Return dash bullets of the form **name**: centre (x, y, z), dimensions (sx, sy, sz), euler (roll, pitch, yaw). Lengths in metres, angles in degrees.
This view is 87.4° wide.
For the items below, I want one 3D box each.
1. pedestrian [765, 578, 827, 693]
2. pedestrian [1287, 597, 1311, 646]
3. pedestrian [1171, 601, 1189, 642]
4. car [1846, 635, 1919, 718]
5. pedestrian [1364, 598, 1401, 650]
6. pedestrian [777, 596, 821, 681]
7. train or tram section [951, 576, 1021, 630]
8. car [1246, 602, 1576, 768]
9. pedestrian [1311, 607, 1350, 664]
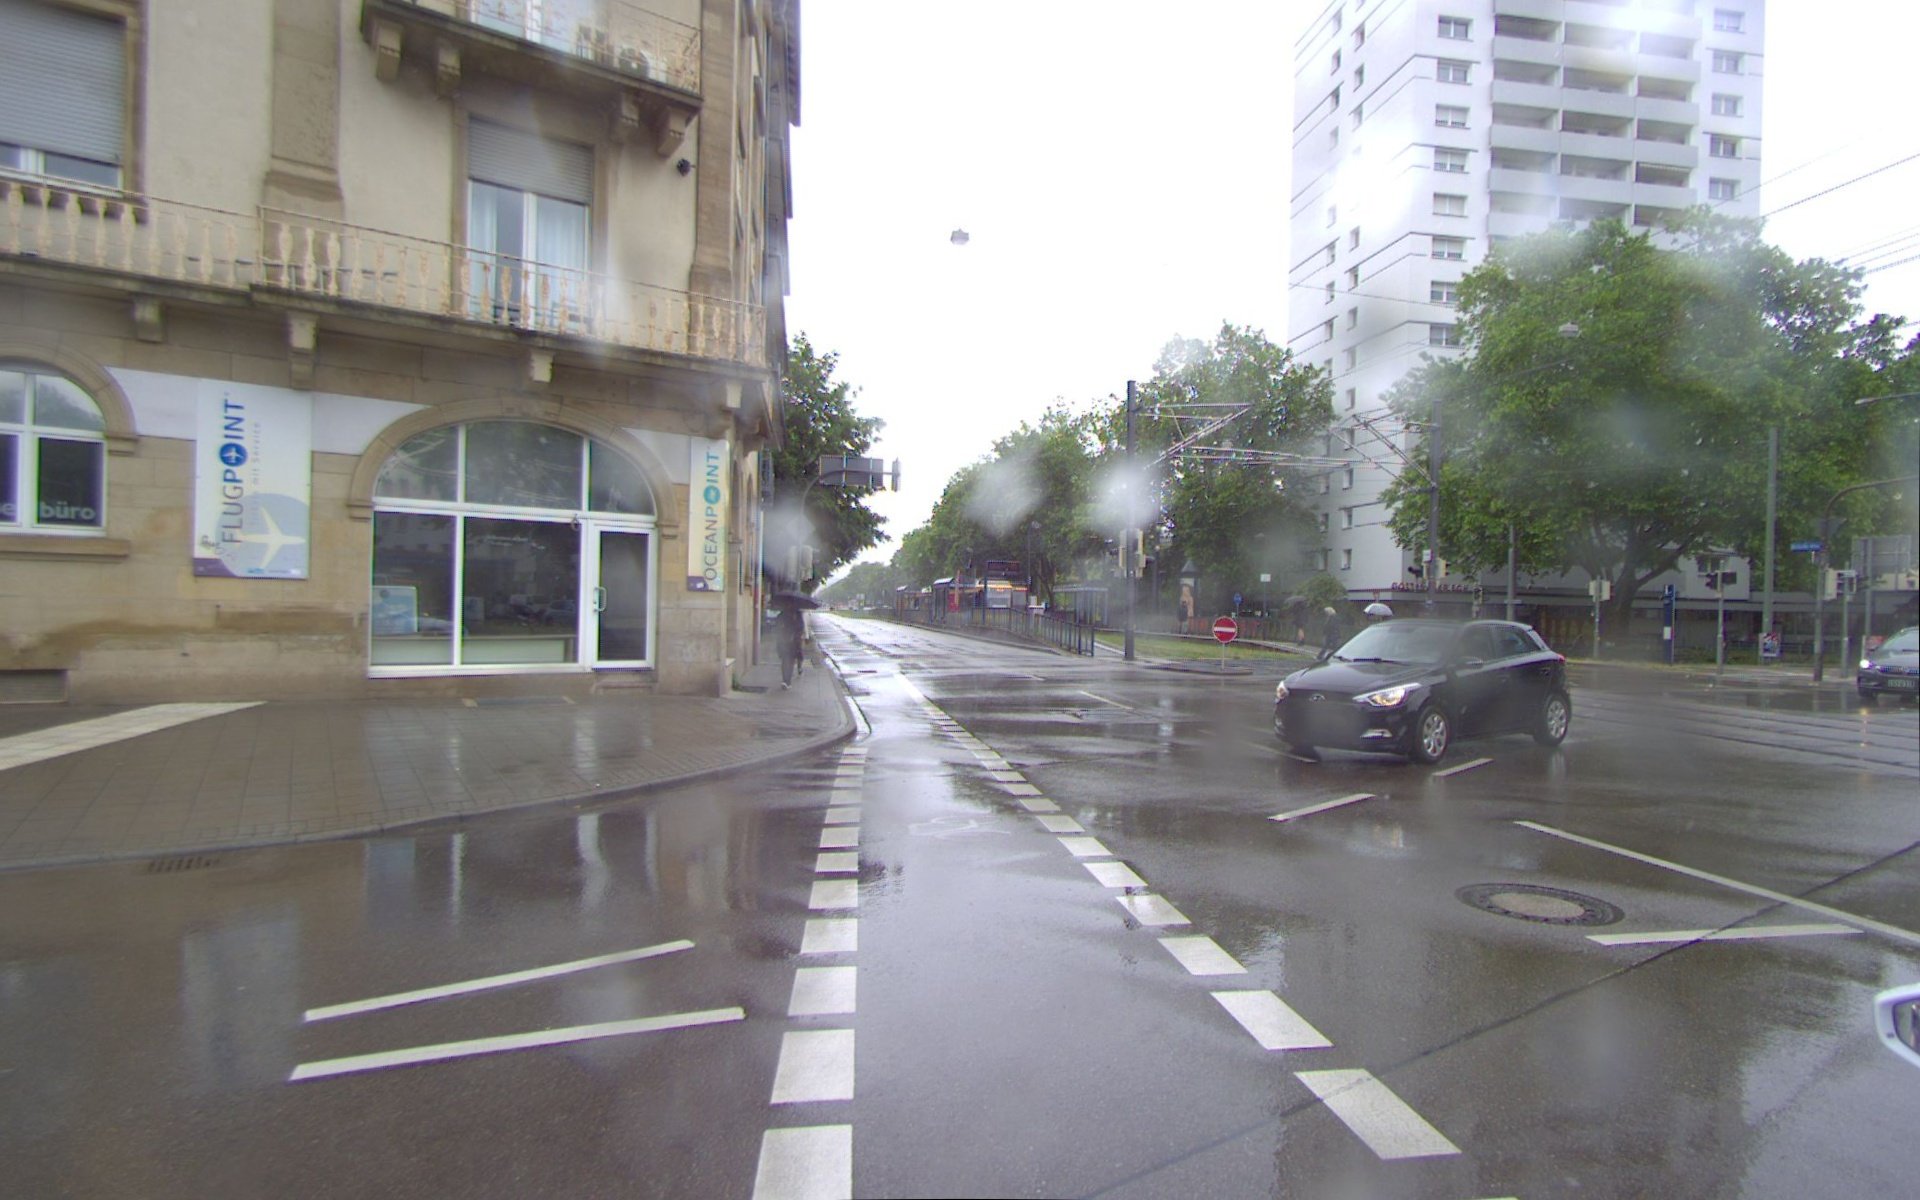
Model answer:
- **pedestrian**: centre (-2.974, 0.639, 18.159), dimensions (0.906, 1.991, 0.698), euler (4, -1, -16)
- **pedestrian**: centre (13.077, 0.820, 38.798), dimensions (0.628, 1.863, 0.678), euler (1, -1, -10)
- **pedestrian**: centre (11.365, 1.109, 51.842), dimensions (0.626, 2.105, 0.700), euler (1, 0, -14)
- **car**: centre (19.871, 1.521, 20.461), dimensions (4.295, 1.567, 1.716), euler (2, -1, -34)
- **pedestrian**: centre (13.867, 0.777, 32.978), dimensions (0.780, 1.670, 0.815), euler (1, -1, -10)
- **pedestrian**: centre (-3.350, 0.800, 20.853), dimensions (0.728, 1.680, 0.742), euler (5, -1, -14)
- **train or tram section**: centre (1.675, 0.278, 73.017), dimensions (3.017, 3.550, 11.560), euler (2, -1, -9)
- **car**: centre (5.121, 0.840, 11.272), dimensions (3.741, 1.567, 1.732), euler (1, -1, -35)
- **pedestrian**: centre (11.169, 1.066, 30.301), dimensions (0.744, 1.670, 0.835), euler (1, -1, -17)
